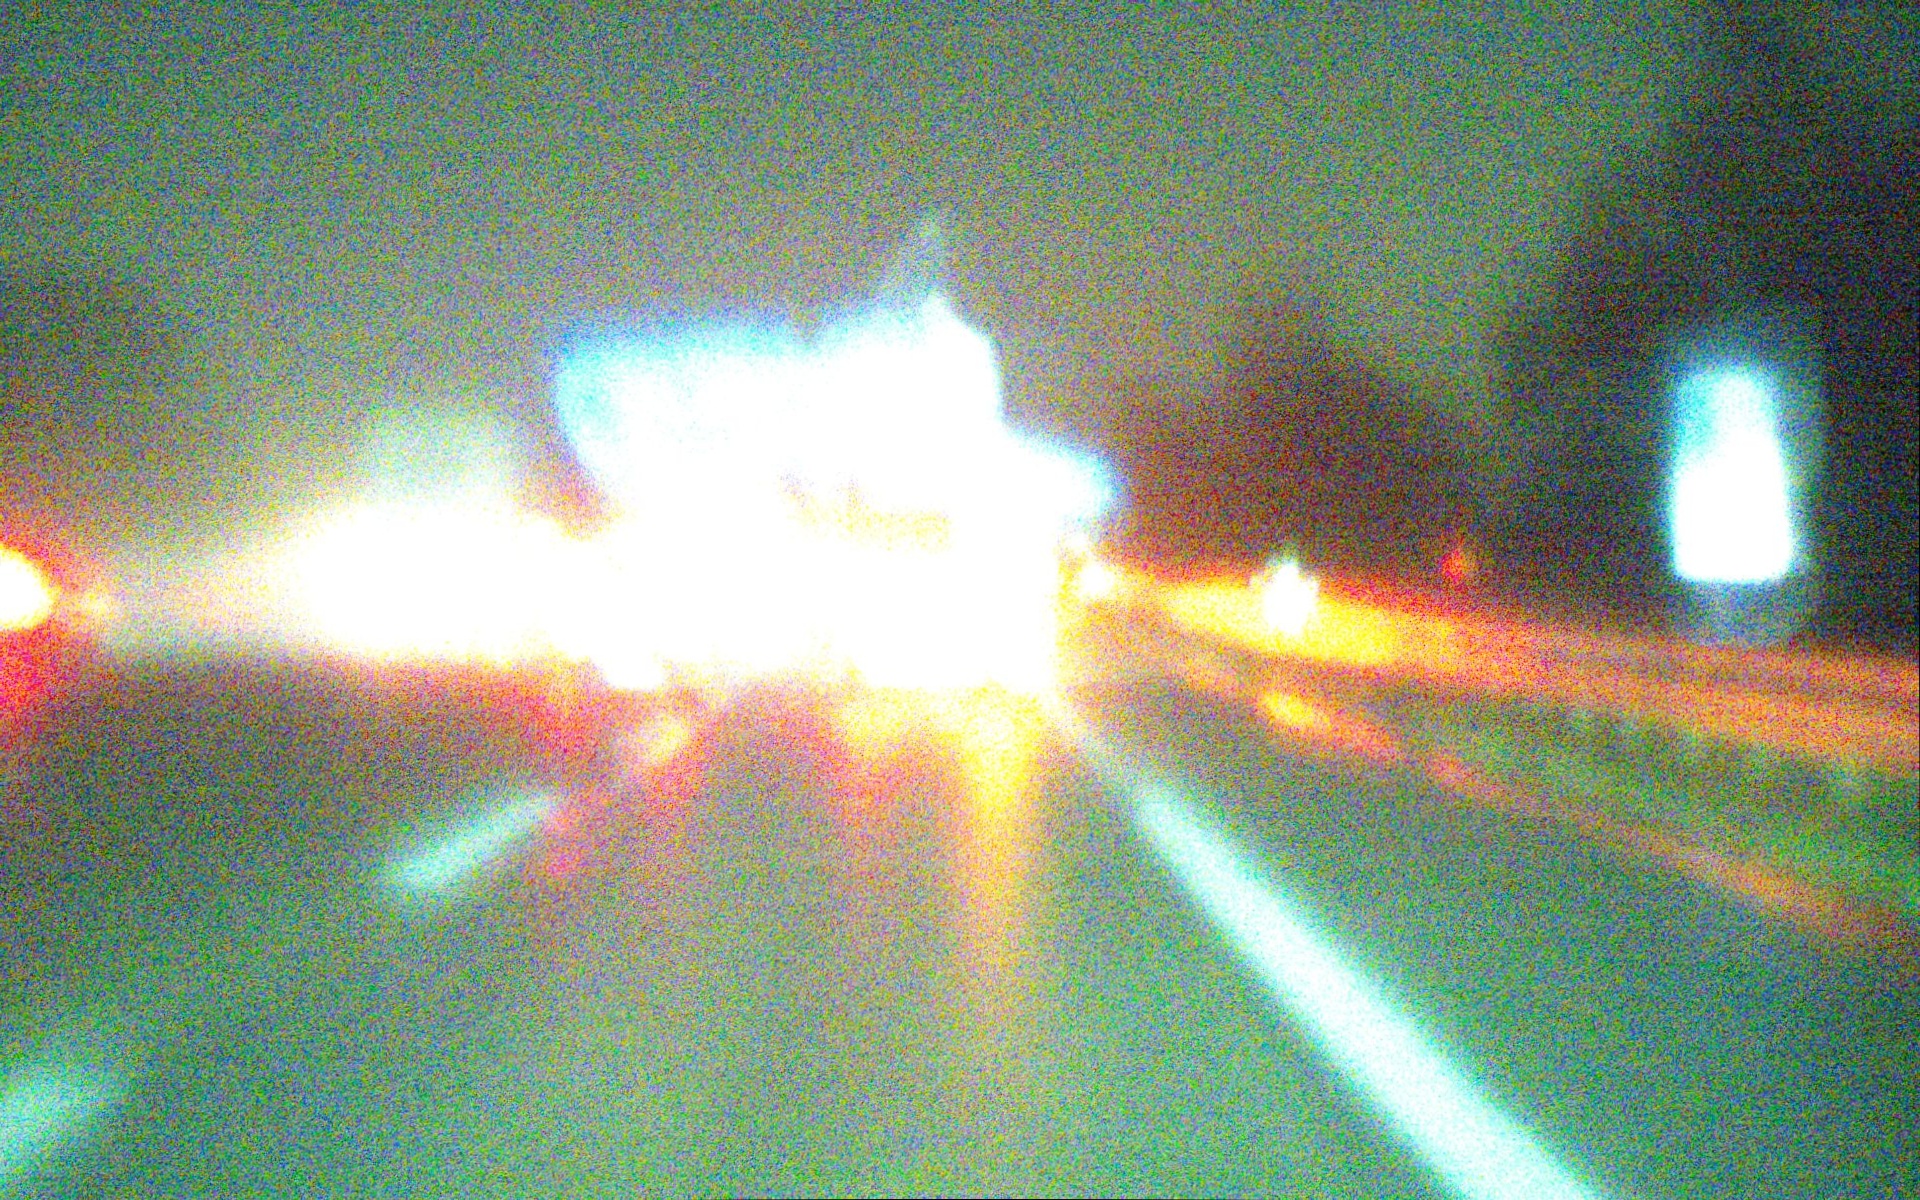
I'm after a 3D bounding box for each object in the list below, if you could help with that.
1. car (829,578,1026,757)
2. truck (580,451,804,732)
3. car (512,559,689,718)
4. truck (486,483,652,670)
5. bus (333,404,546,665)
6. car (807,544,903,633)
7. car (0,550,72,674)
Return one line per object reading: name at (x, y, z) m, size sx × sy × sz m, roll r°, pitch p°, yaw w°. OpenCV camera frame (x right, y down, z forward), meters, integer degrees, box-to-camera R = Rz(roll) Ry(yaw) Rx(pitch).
car at (-0.358, 0.682, 37.179) m, size 1.993 × 1.801 × 4.000 m, roll 1°, pitch 0°, yaw -1°
truck at (-5.667, -0.192, 75.237) m, size 4.210 × 5.629 × 11.468 m, roll 1°, pitch 0°, yaw -1°
car at (-4.794, 0.485, 46.468) m, size 2.125 × 2.007 × 4.646 m, roll 1°, pitch 0°, yaw -3°
truck at (-12.419, -0.731, 110.456) m, size 4.210 × 5.629 × 11.468 m, roll 1°, pitch 0°, yaw -1°
bus at (-9.685, -1.154, 65.104) m, size 3.096 × 4.492 × 10.914 m, roll 1°, pitch 0°, yaw -4°
car at (-2.494, -0.269, 80.958) m, size 2.125 × 2.007 × 4.646 m, roll 1°, pitch 0°, yaw -3°
car at (-13.221, 0.132, 46.166) m, size 1.993 × 1.590 × 4.001 m, roll 1°, pitch 0°, yaw -7°
